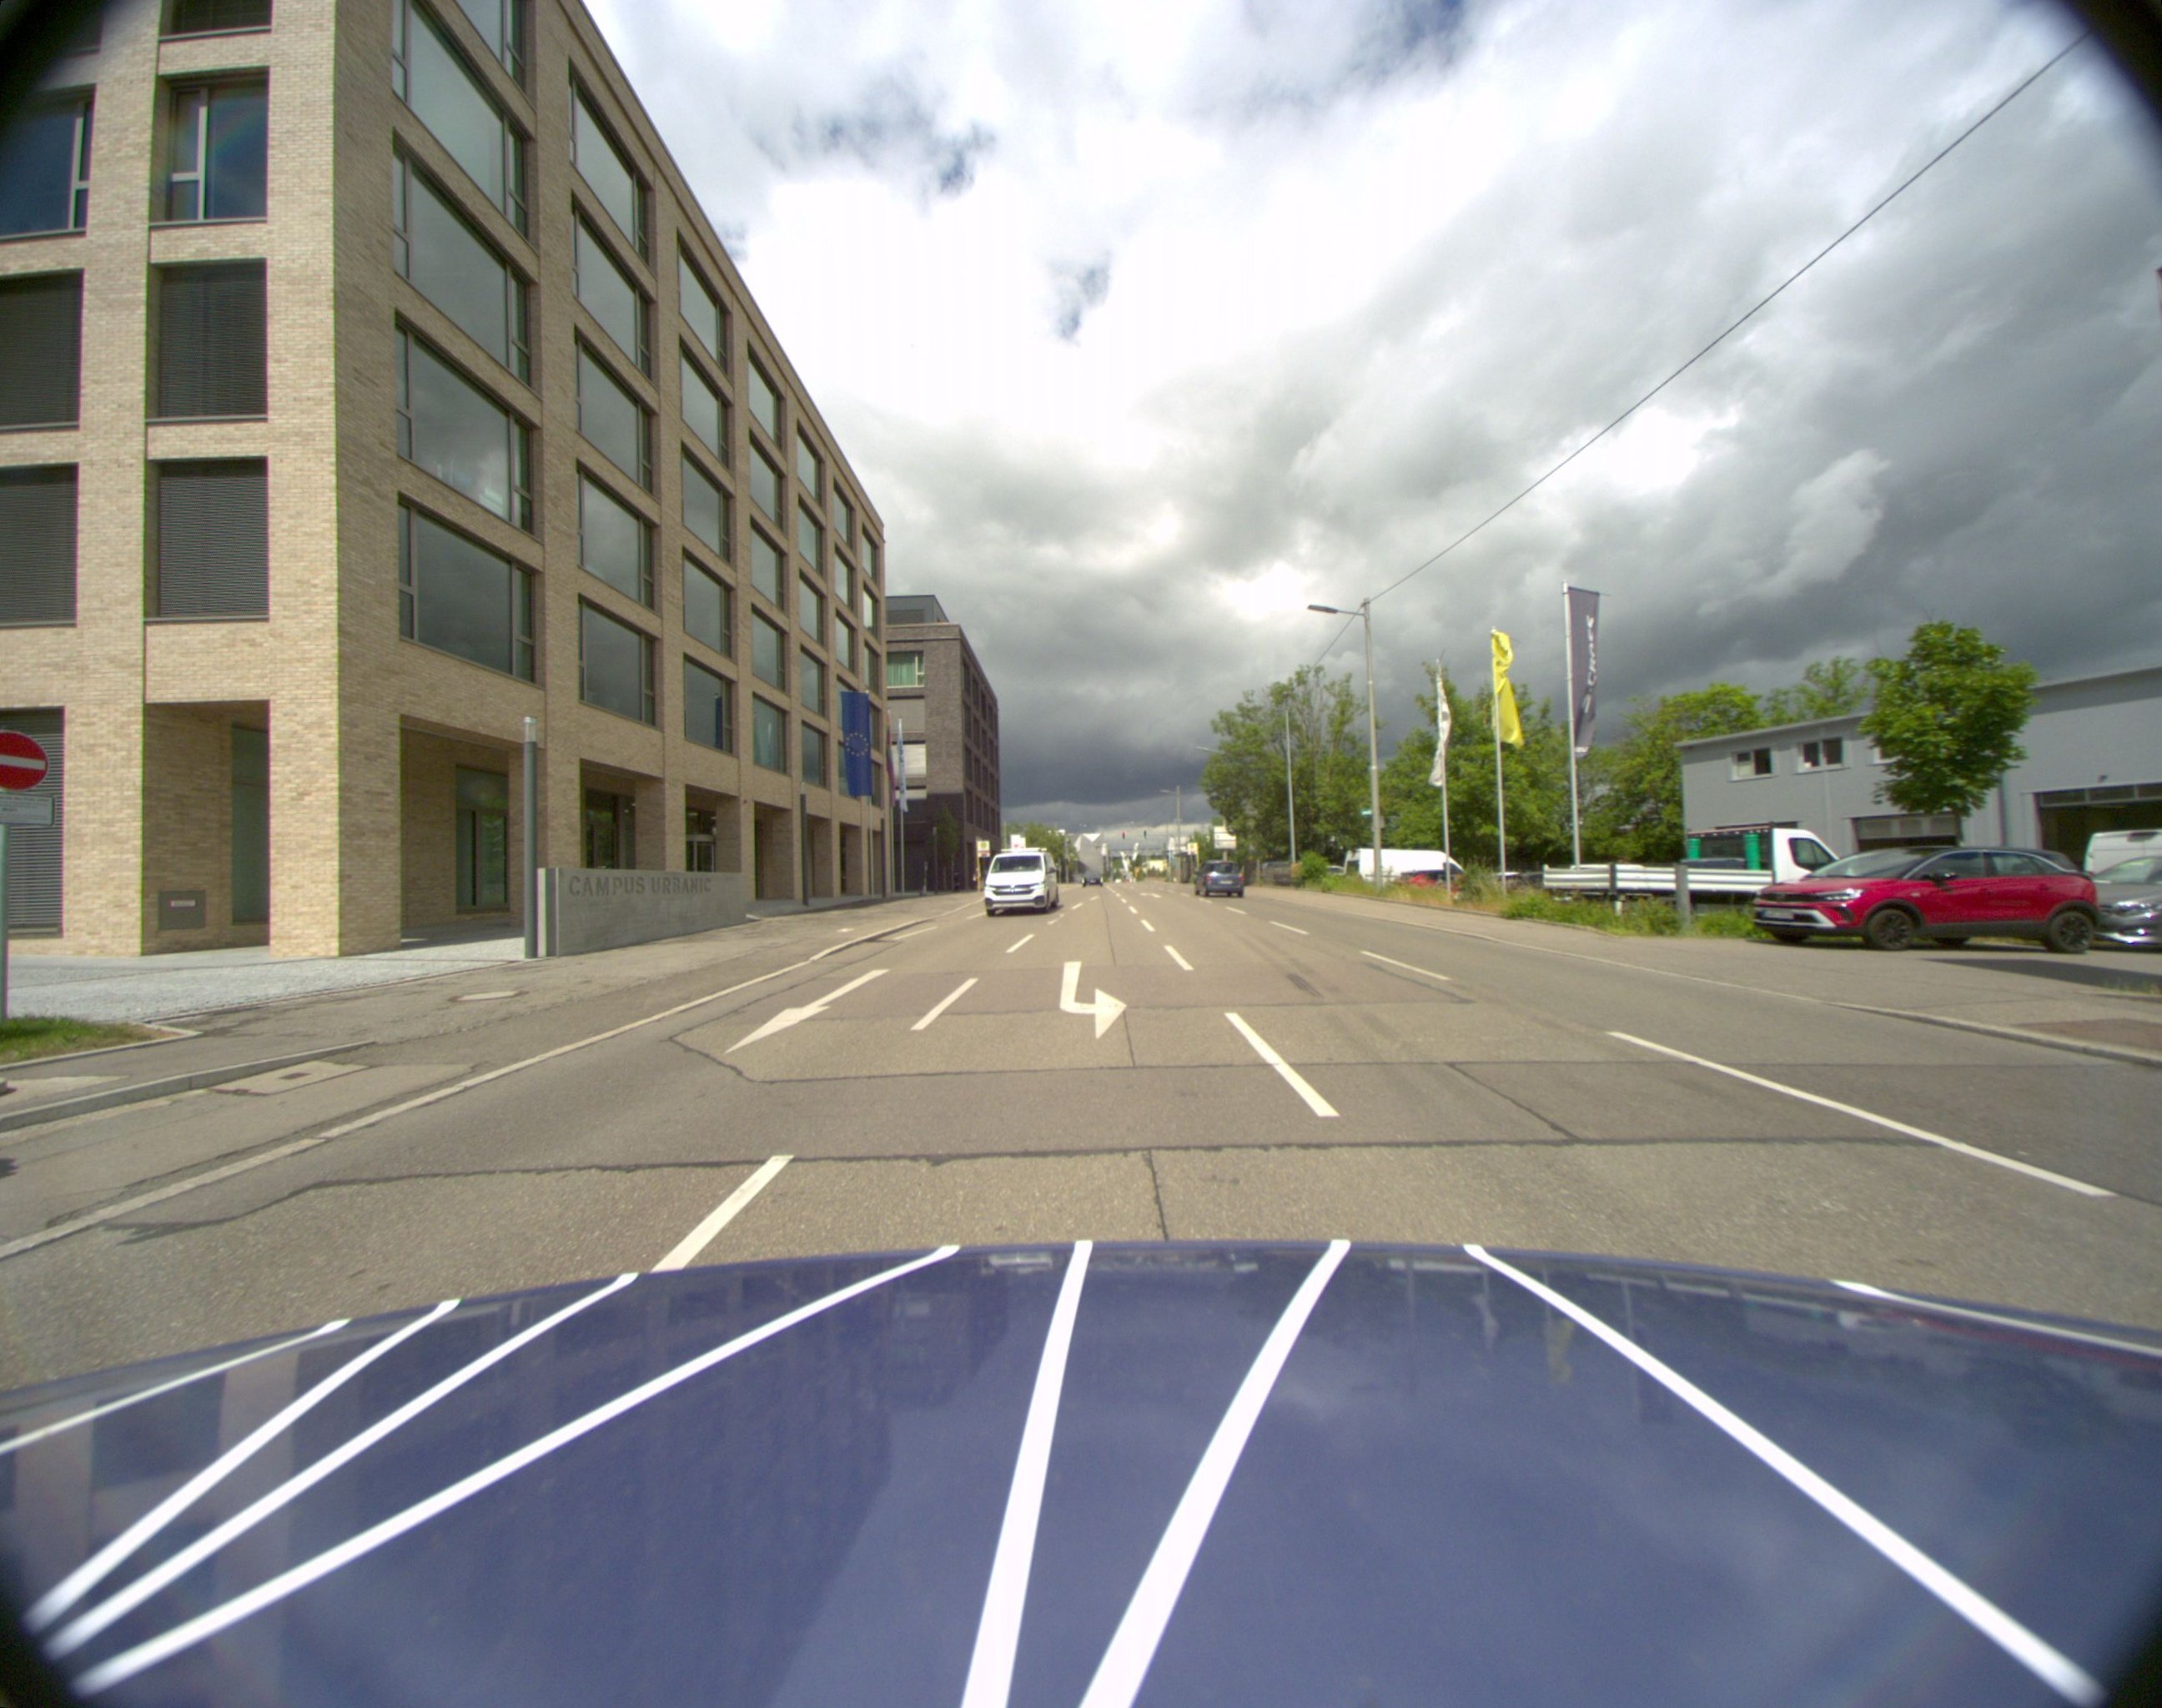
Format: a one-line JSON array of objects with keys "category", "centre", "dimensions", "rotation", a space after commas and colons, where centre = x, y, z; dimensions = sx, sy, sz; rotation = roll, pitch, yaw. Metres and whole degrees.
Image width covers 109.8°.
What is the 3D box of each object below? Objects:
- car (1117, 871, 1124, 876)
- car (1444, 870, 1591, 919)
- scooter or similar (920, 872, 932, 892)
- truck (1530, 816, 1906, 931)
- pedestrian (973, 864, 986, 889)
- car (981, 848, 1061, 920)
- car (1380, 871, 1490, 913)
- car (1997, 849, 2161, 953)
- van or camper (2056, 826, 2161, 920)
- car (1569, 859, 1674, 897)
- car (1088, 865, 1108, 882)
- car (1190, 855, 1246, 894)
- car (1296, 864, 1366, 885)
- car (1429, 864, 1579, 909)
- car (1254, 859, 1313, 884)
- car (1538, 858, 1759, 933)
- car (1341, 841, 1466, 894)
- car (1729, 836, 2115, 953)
[{"category": "car", "centre": [12.362, 6.160, 237.656], "dimensions": [1.801, 1.368, 4.226], "rotation": [0, -2, 1]}, {"category": "car", "centre": [13.479, 1.237, 23.620], "dimensions": [3.553, 1.317, 1.711], "rotation": [-2, 0, 5]}, {"category": "scooter or similar", "centre": [-9.152, 1.667, 44.859], "dimensions": [0.428, 1.146, 1.404], "rotation": [-1, -1, 1]}, {"category": "truck", "centre": [13.037, 0.364, 15.892], "dimensions": [5.877, 2.135, 2.476], "rotation": [-1, 1, -2]}, {"category": "pedestrian", "centre": [-7.271, 1.625, 54.506], "dimensions": [0.685, 1.717, 0.962], "rotation": [-2, -1, 1]}, {"category": "car", "centre": [-1.817, 0.881, 24.378], "dimensions": [1.935, 2.078, 4.209], "rotation": [-1, 0, 4]}, {"category": "car", "centre": [13.323, 1.413, 28.754], "dimensions": [3.344, 1.401, 1.728], "rotation": [-2, 0, 5]}, {"category": "car", "centre": [17.672, 0.758, 12.041], "dimensions": [4.089, 1.513, 1.827], "rotation": [1, -2, 0]}, {"category": "van or camper", "centre": [29.516, 0.446, 20.170], "dimensions": [5.905, 2.341, 2.500], "rotation": [-1, -1, -17]}, {"category": "car", "centre": [26.284, 1.156, 37.184], "dimensions": [1.841, 1.718, 4.918], "rotation": [-1, -1, 3]}, {"category": "car", "centre": [1.506, 1.733, 69.334], "dimensions": [1.726, 1.394, 4.207], "rotation": [0, 0, 0]}, {"category": "car", "centre": [5.947, 0.883, 33.413], "dimensions": [1.748, 1.586, 4.042], "rotation": [1, -1, 0]}, {"category": "car", "centre": [17.328, 1.430, 52.742], "dimensions": [4.285, 1.373, 1.867], "rotation": [-1, -1, 6]}, {"category": "car", "centre": [14.414, 1.096, 26.074], "dimensions": [4.041, 1.378, 1.929], "rotation": [-2, 0, 5]}, {"category": "car", "centre": [17.182, 1.460, 64.544], "dimensions": [4.289, 2.001, 2.140], "rotation": [-1, -1, -6]}, {"category": "car", "centre": [13.670, 0.961, 18.494], "dimensions": [3.895, 1.600, 1.928], "rotation": [-2, 0, 1]}, {"category": "car", "centre": [13.271, 0.589, 31.497], "dimensions": [4.171, 2.001, 2.199], "rotation": [-2, -2, -1]}, {"category": "car", "centre": [12.873, 0.601, 11.846], "dimensions": [3.996, 1.579, 1.754], "rotation": [1, -1, 2]}]
